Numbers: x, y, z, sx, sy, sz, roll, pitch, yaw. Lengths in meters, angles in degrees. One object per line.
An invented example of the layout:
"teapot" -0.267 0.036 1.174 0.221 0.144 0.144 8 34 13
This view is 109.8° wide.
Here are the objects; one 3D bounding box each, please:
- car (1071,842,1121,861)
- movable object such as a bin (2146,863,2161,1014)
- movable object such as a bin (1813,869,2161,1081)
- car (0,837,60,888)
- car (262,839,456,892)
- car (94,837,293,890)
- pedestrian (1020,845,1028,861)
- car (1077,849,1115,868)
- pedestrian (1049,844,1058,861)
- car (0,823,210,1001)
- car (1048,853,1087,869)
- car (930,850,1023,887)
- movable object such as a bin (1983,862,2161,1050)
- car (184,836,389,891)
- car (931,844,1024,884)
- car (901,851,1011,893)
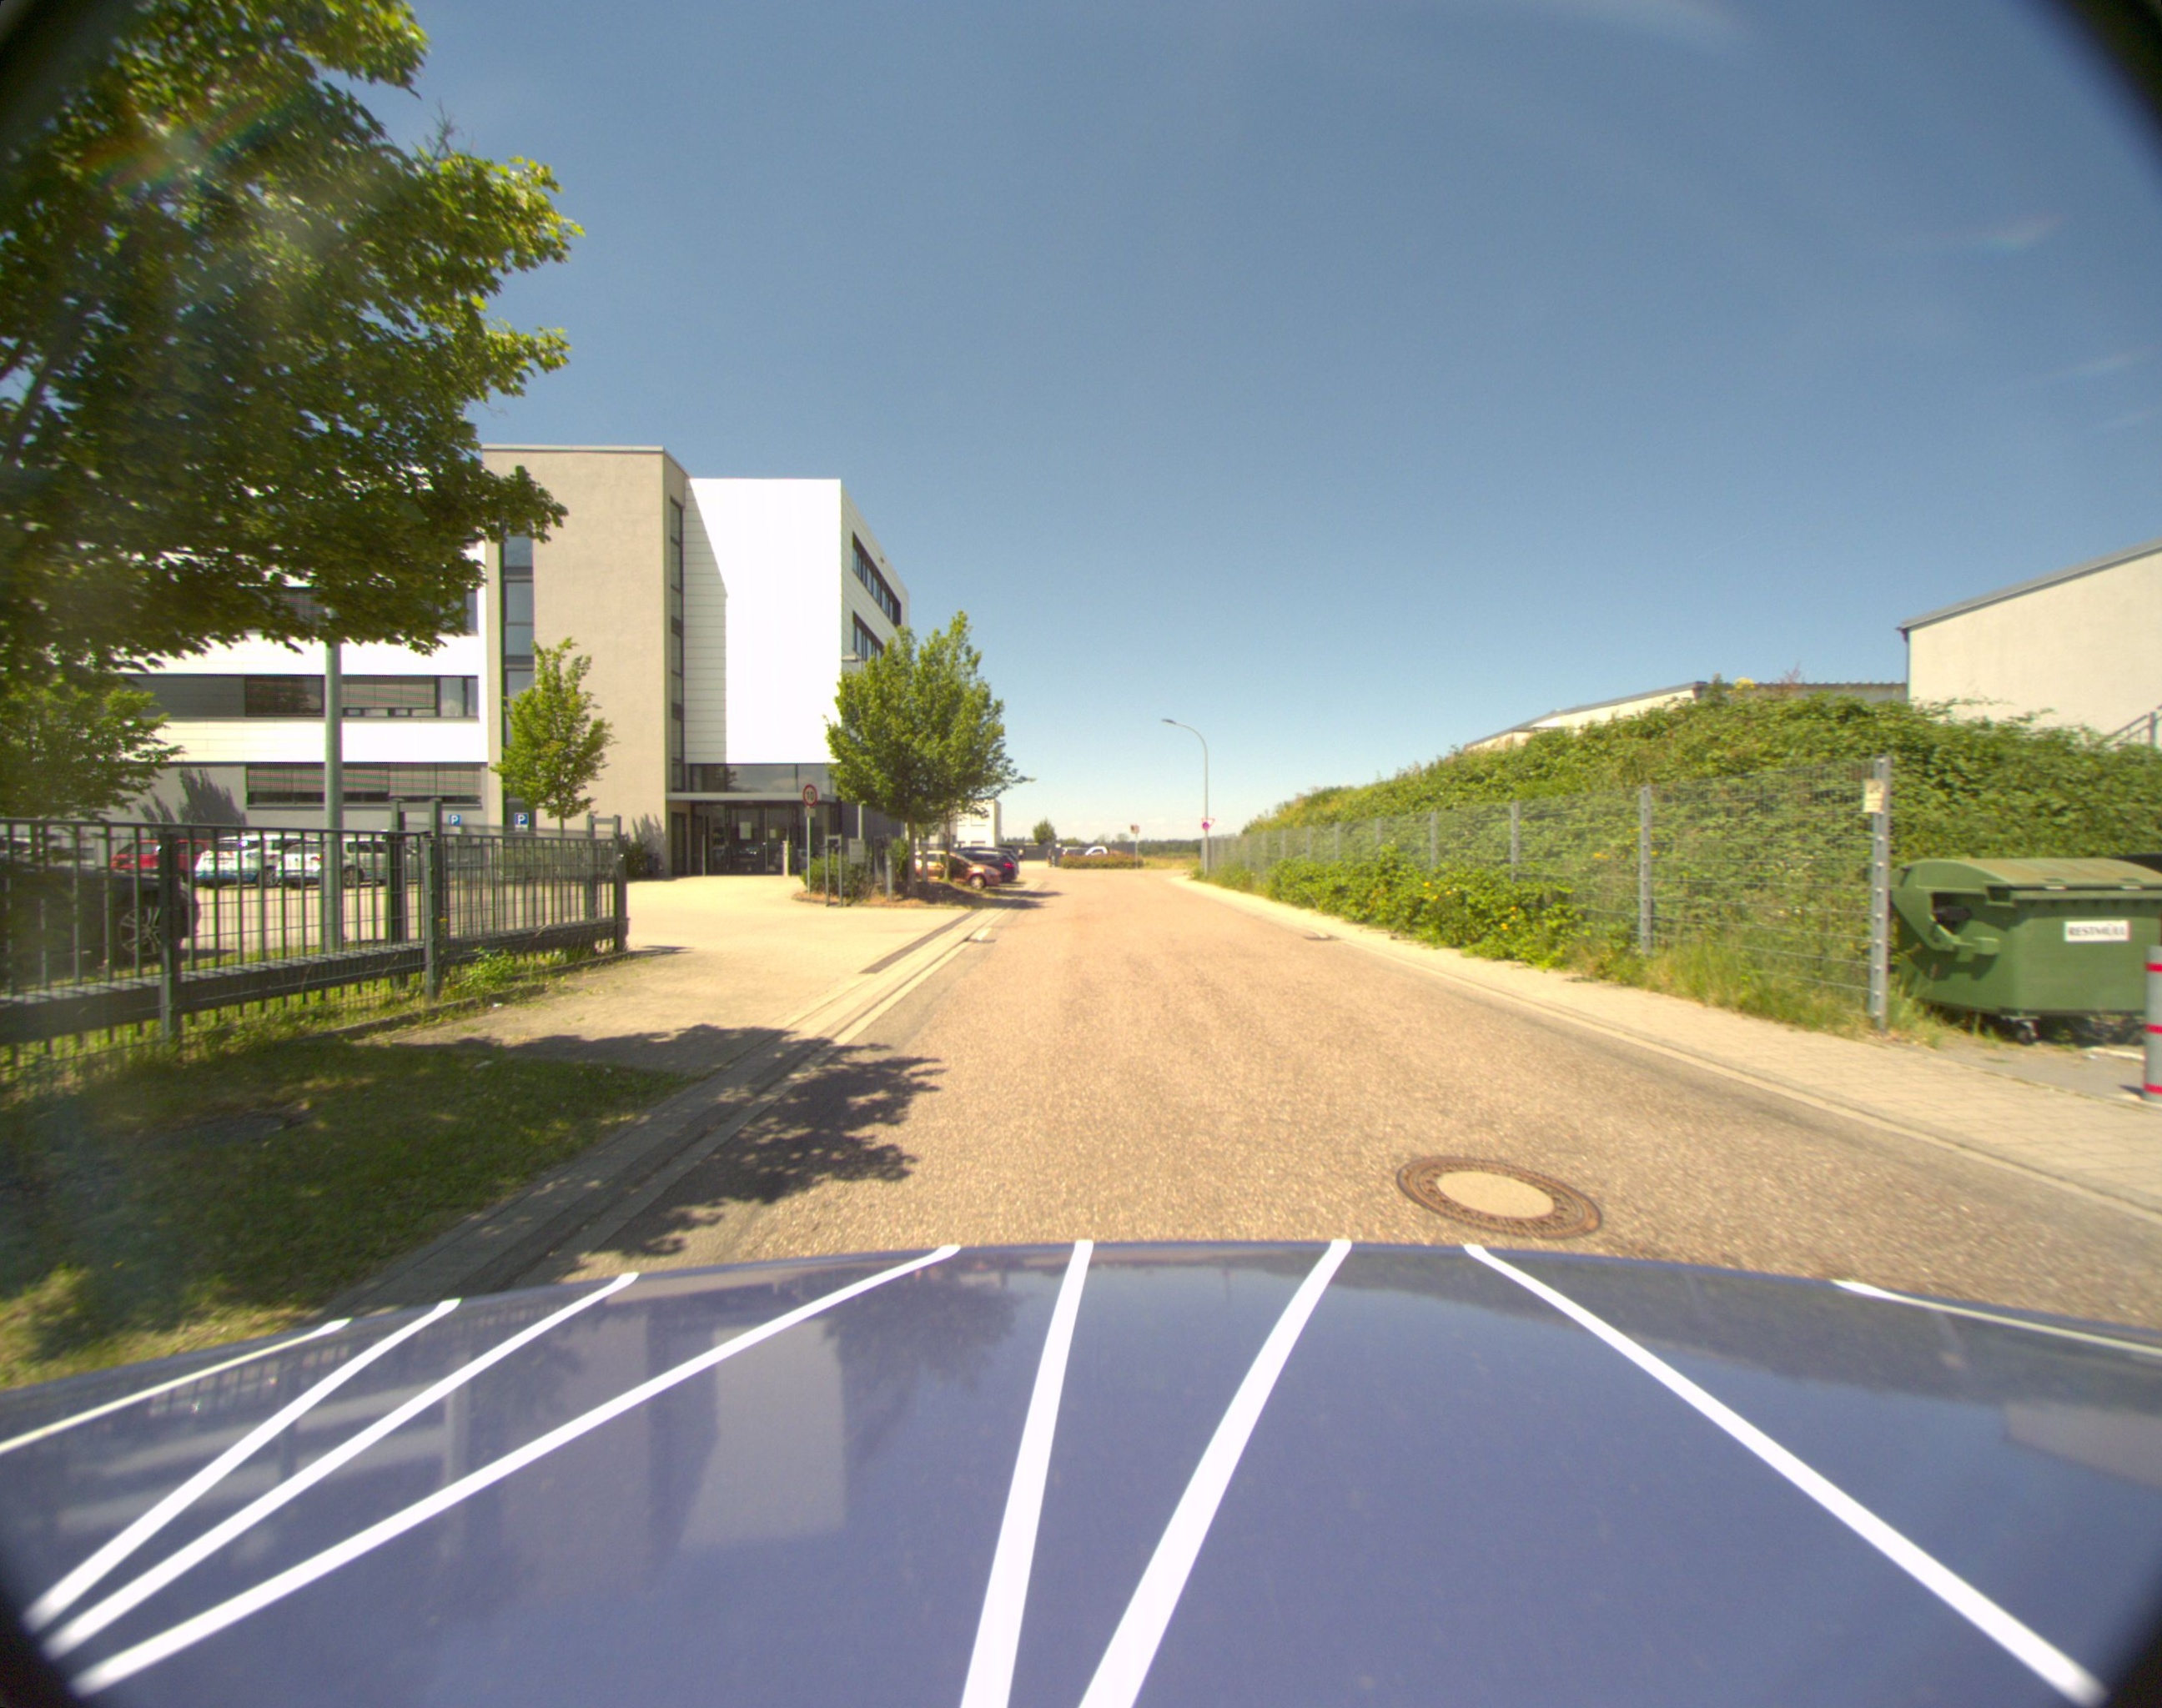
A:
"car" 1.232 -0.200 63.048 3.998 1.532 1.830 0 0 -4
"movable object such as a bin" 11.044 0.771 6.485 1.352 1.456 1.766 -4 0 1
"movable object such as a bin" 7.627 0.881 6.321 1.306 1.468 1.839 0 0 1
"car" -34.186 0.275 22.758 1.618 1.542 4.113 1 1 0
"car" -21.804 0.280 23.231 1.809 1.452 4.223 1 1 2
"car" -27.129 0.246 23.442 1.618 1.486 3.786 1 1 2
"pedestrian" -5.992 -0.114 79.826 0.775 1.619 0.621 0 1 -15
"car" 1.214 0.367 62.280 2.996 1.511 1.705 0 0 -4
"pedestrian" -2.826 -0.154 77.888 0.830 1.673 0.711 0 1 -9
"car" -9.641 0.493 5.429 1.794 1.446 4.407 0 2 -2
"car" -1.434 0.703 78.990 3.998 1.596 1.676 0 0 -4
"car" -4.389 0.605 32.327 3.722 1.486 1.782 1 0 -2
"movable object such as a bin" 9.535 0.847 6.550 1.352 1.456 1.766 -4 0 1
"car" -24.327 0.240 23.530 1.809 1.520 4.223 1 1 2
"car" -4.733 0.443 35.122 3.996 1.755 1.725 1 0 3
"car" -4.771 0.676 29.379 3.998 1.486 1.724 1 0 -2
